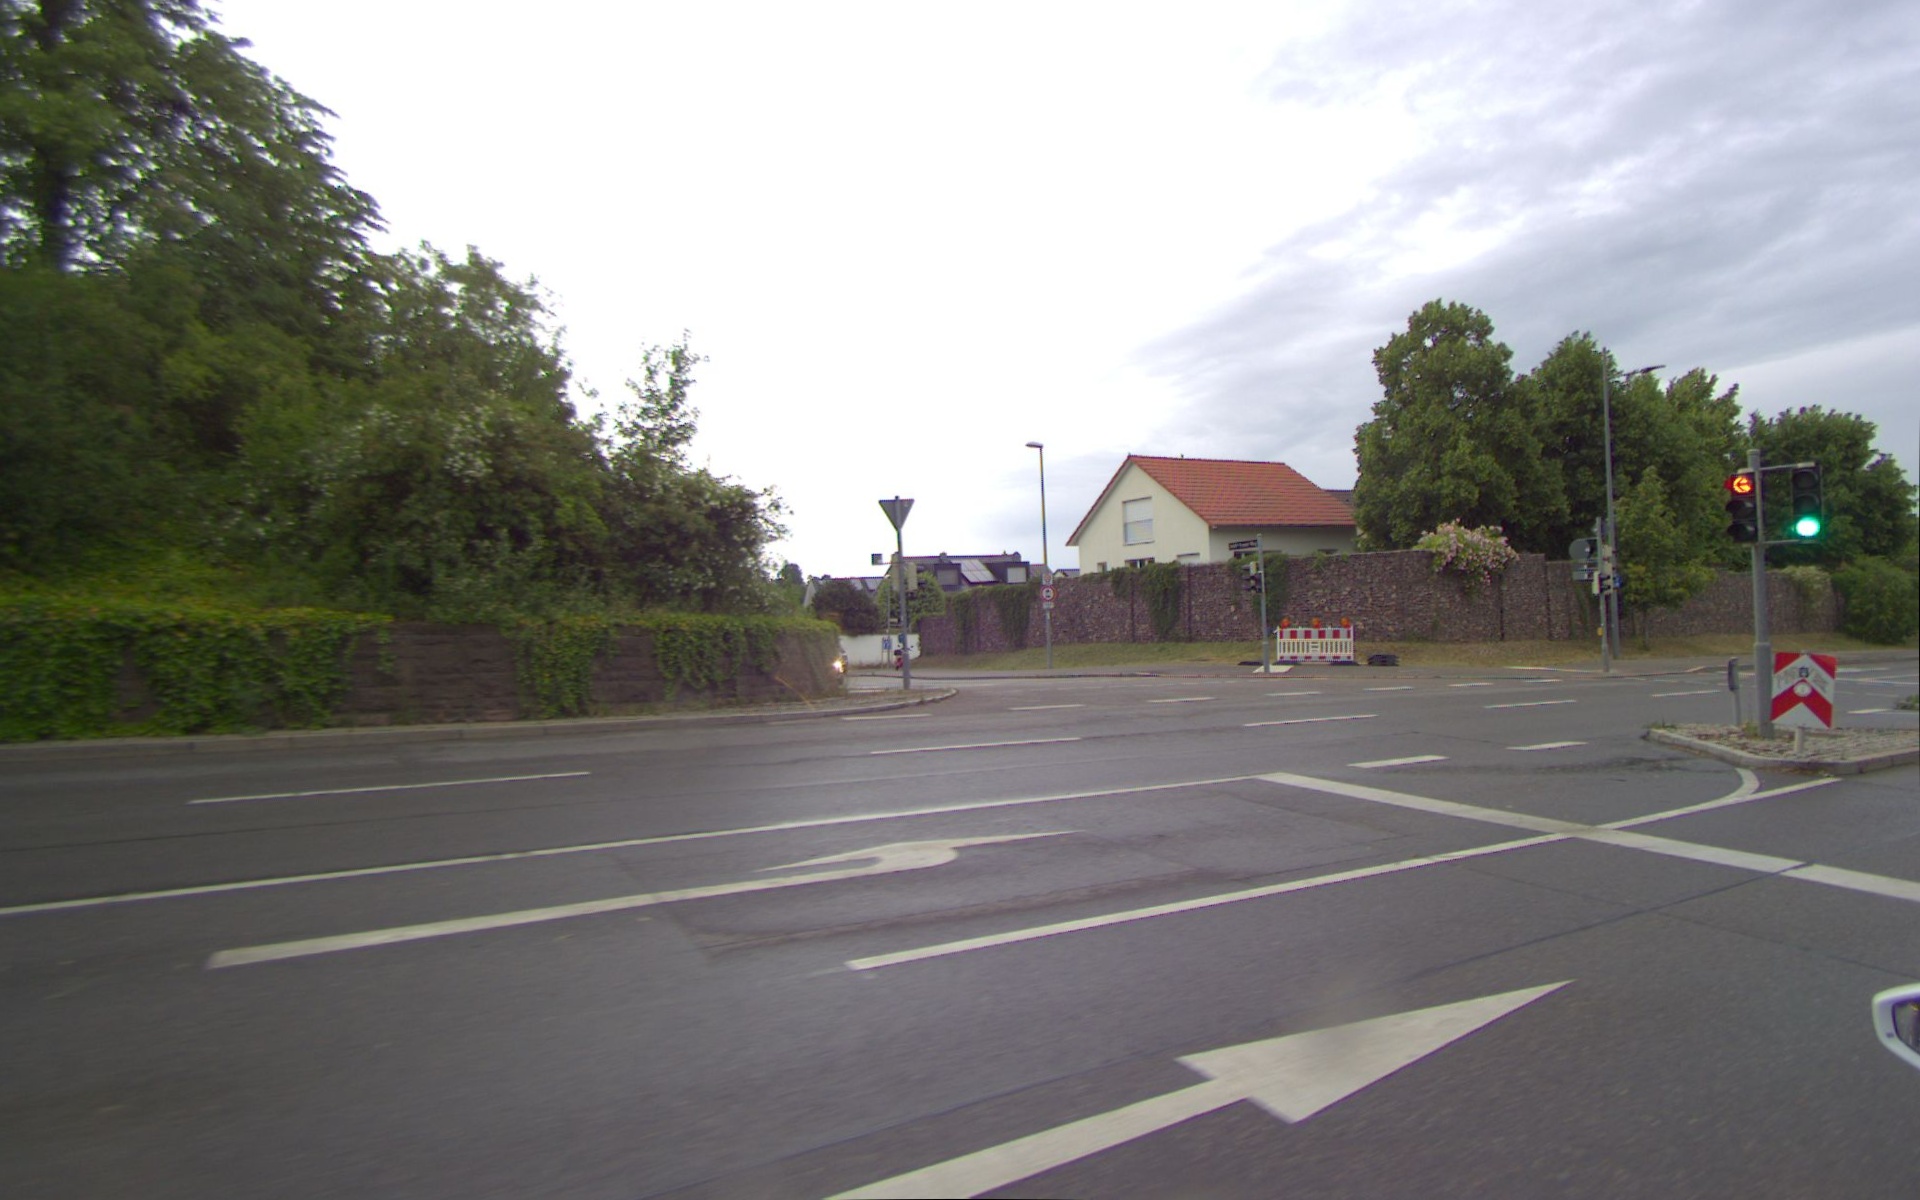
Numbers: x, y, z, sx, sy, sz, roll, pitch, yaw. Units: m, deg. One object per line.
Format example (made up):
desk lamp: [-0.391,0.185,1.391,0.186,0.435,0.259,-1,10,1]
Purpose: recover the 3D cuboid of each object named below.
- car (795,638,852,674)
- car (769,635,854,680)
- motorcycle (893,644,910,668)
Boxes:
car: [-7.280,2.929,53.177,1.868,1.725,3.976,-2,-1,-25]
car: [-5.486,2.058,36.709,1.672,1.492,3.968,-2,-1,-31]
motorcycle: [-3.013,2.845,51.387,0.340,1.158,1.300,1,-1,-28]
